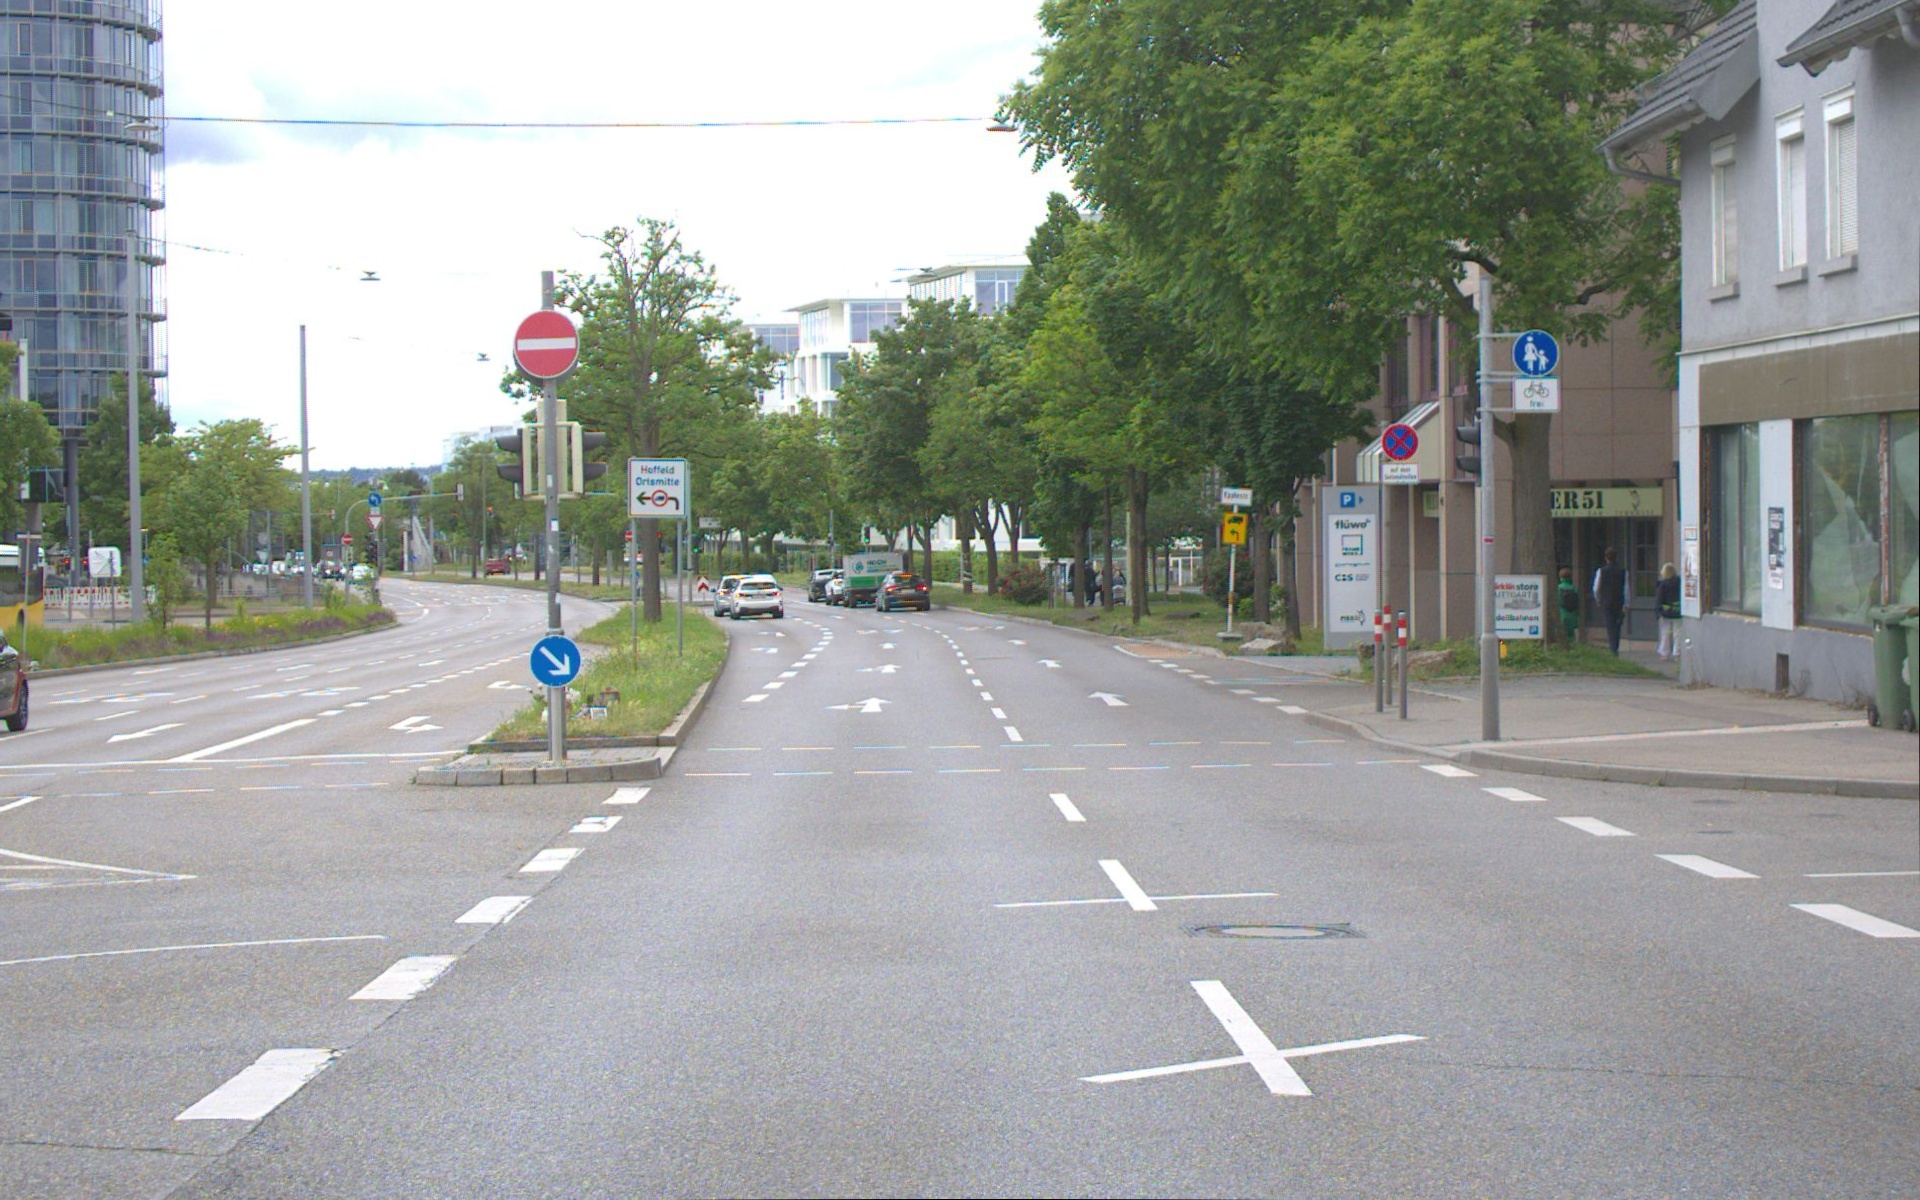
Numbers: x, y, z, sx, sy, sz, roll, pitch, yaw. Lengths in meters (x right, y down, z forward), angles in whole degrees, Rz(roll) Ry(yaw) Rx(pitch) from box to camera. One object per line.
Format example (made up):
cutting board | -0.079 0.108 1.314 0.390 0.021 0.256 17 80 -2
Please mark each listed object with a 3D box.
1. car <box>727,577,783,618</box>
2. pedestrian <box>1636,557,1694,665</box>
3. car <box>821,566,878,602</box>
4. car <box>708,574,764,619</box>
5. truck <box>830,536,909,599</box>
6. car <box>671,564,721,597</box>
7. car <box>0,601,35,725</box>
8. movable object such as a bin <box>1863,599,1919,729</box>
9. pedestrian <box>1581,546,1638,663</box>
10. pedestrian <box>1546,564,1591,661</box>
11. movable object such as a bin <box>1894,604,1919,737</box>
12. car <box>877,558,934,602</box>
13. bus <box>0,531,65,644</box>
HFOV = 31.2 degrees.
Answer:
car | -7.473 -0.095 124.857 1.863 1.444 4.001 -1 0 -5
pedestrian | 11.187 0.170 54.586 0.657 1.685 0.843 -3 0 -1
car | -4.838 -0.725 149.816 1.993 1.503 4.001 -1 1 -8
car | -8.525 -0.140 130.704 1.993 1.666 4.001 -1 0 -5
truck | -3.789 -1.310 142.454 2.859 2.511 6.288 -1 0 -5
car | -12.127 -0.899 158.002 1.993 1.503 4.000 0 0 0
car | -12.464 0.777 41.827 1.658 1.503 3.769 -1 0 -5
movable object such as a bin | 8.191 0.546 29.643 0.608 1.100 0.710 0 0 -2
pedestrian | 10.325 0.073 54.664 0.657 1.820 0.843 -3 0 -1
pedestrian | 9.950 0.201 56.197 0.561 1.544 0.544 -3 0 -1
movable object such as a bin | 8.256 0.584 28.838 0.626 1.100 0.710 0 0 -2
car | -2.061 -0.765 129.560 1.993 1.590 4.000 -1 1 -3
bus | -30.983 -0.428 108.622 3.031 3.444 9.912 1 1 -1
